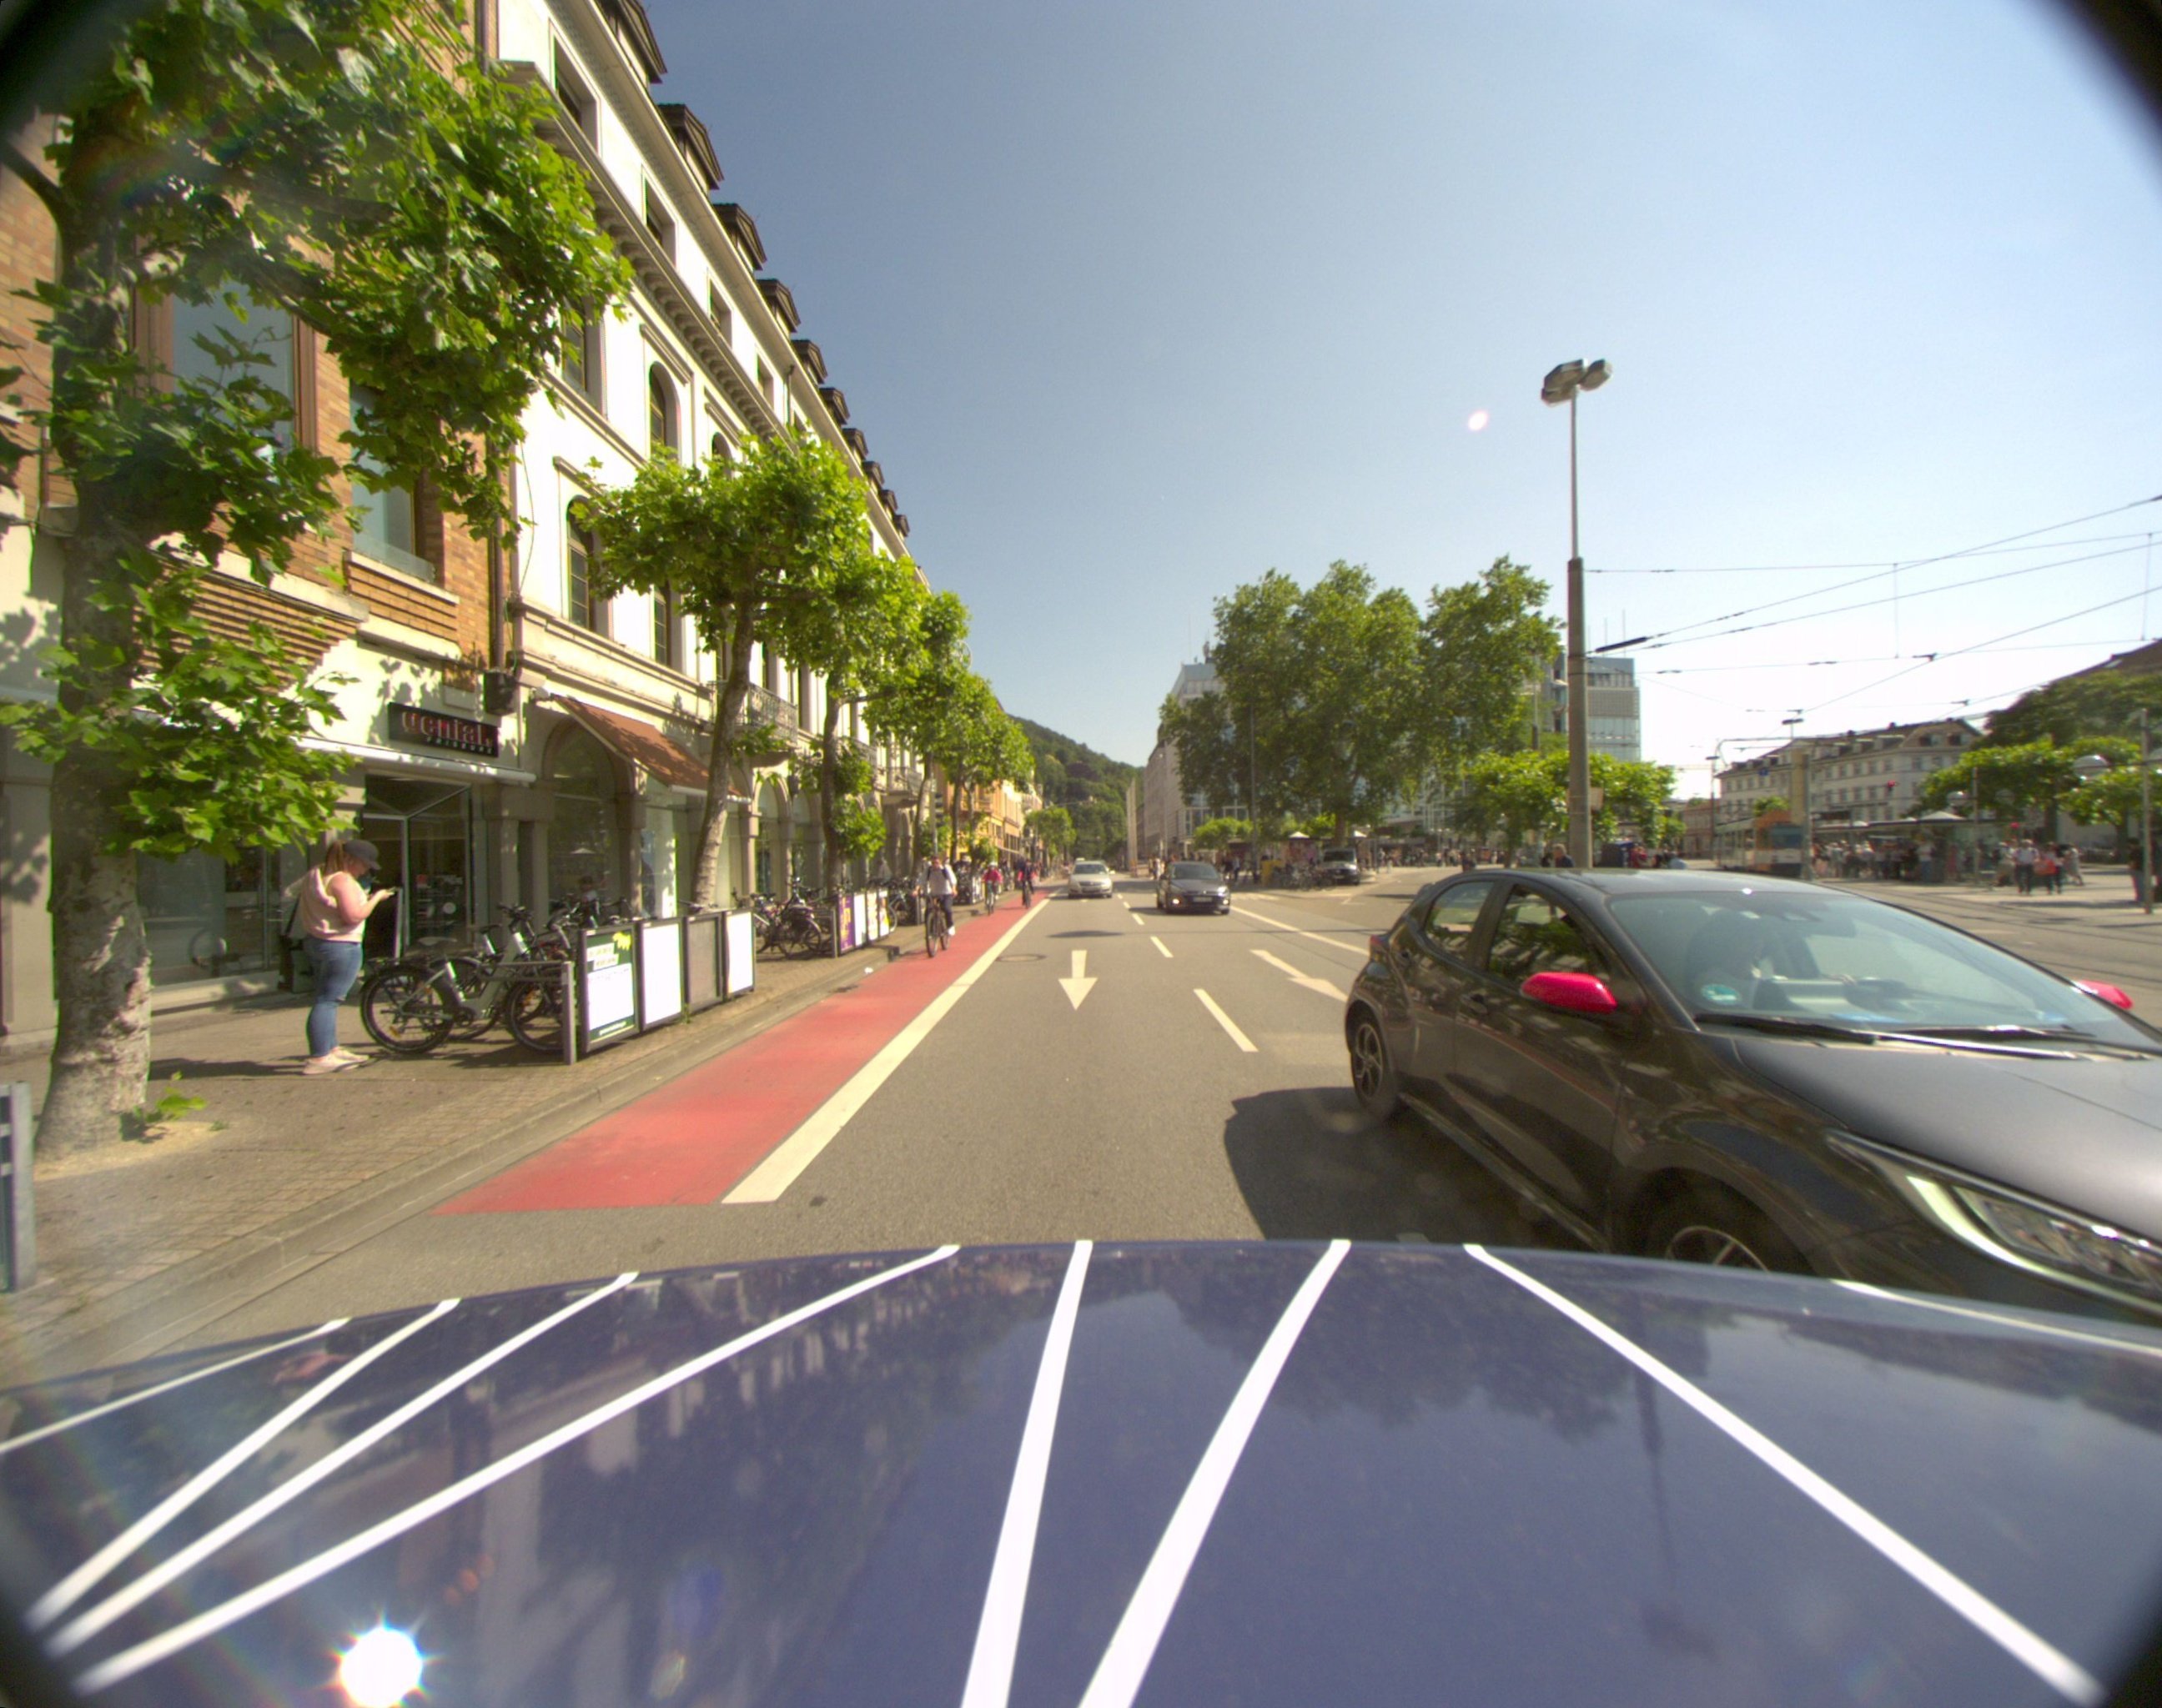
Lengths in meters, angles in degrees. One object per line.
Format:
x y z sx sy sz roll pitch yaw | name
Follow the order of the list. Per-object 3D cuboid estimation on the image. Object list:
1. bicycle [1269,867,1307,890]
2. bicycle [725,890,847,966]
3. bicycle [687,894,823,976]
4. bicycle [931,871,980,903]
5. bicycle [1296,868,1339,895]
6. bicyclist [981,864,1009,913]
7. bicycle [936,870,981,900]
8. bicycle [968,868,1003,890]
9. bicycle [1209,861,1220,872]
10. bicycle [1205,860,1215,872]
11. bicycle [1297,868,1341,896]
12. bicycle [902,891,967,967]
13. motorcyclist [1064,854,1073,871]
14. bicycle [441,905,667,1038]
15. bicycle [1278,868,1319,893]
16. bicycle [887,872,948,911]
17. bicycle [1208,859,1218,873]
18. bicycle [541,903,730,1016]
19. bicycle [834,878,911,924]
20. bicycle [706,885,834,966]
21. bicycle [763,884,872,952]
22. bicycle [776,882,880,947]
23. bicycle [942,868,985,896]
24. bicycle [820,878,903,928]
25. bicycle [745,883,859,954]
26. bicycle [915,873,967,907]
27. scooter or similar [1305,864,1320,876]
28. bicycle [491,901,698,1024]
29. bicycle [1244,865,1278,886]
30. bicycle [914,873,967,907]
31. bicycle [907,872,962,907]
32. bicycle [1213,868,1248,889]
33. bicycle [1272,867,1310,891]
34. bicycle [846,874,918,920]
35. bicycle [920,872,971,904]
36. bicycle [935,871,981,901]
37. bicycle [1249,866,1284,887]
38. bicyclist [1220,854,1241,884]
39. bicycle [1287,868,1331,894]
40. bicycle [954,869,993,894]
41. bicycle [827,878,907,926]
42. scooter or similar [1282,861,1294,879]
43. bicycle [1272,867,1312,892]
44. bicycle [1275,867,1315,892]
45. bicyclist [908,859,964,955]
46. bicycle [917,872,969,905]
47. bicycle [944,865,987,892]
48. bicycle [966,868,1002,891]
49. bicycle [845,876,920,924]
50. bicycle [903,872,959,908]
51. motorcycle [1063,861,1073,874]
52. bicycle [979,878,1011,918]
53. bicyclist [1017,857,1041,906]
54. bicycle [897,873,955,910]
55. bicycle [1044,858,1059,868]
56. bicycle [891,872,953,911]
10.400 1.229 38.181 1.757 1.140 0.483 -1 0 -1 | bicycle
-4.761 1.180 12.312 1.757 1.140 0.483 -1 0 -1 | bicycle
-4.787 1.178 11.220 1.757 1.117 0.483 -1 0 -1 | bicycle
-4.821 1.261 29.197 1.757 1.140 0.592 -1 0 -1 | bicycle
10.459 1.215 33.618 1.757 1.140 0.483 -1 0 -1 | bicycle
-2.564 1.023 22.664 0.690 1.388 0.778 -3 0 -1 | bicyclist
-5.050 1.277 31.453 1.757 1.140 0.592 -1 0 -1 | bicycle
-4.977 1.302 39.780 1.757 1.140 0.592 -1 0 -1 | bicycle
13.930 1.283 79.486 0.592 1.140 1.757 -1 0 -7 | bicycle
13.476 1.256 79.353 0.592 1.140 1.757 -1 0 -7 | bicycle
10.344 1.219 33.086 1.757 1.140 0.483 -1 0 -1 | bicycle
-2.489 1.246 13.115 0.736 1.086 1.897 -3 0 -1 | bicycle
-1.130 0.784 67.302 0.736 1.445 0.707 -3 0 1 | motorcyclist
-4.963 1.094 7.215 1.757 1.140 0.483 -1 0 -1 | bicycle
10.162 1.228 35.544 1.757 1.140 0.483 -1 0 -1 | bicycle
-5.157 1.180 24.072 1.804 1.187 0.483 -1 0 -1 | bicycle
11.892 1.072 68.504 0.729 1.137 1.914 -3 0 14 | bicycle
-4.897 1.146 8.414 1.757 1.140 0.499 -1 0 -1 | bicycle
-5.126 1.152 18.728 1.757 1.062 0.483 -1 0 -1 | bicycle
-4.786 1.093 11.747 1.757 1.180 0.483 -1 0 -1 | bicycle
-4.749 1.143 13.733 1.757 1.140 0.527 -1 0 -1 | bicycle
-4.741 1.134 14.306 1.757 1.140 0.483 -1 0 -1 | bicycle
-5.073 1.198 32.856 1.757 1.140 0.592 -1 0 -1 | bicycle
-5.103 1.135 17.688 1.757 1.098 0.483 -1 0 -1 | bicycle
-4.802 1.106 13.110 1.757 1.140 0.483 -1 0 -1 | bicycle
-4.983 1.287 27.124 1.757 1.140 0.483 -1 0 -1 | bicycle
13.200 0.918 43.273 0.579 0.643 0.787 -3 0 33 | scooter or similar
-4.928 1.085 7.757 1.757 1.140 0.483 -1 0 -1 | bicycle
10.133 1.197 42.770 1.757 1.140 0.483 -1 0 -1 | bicycle
-4.909 1.255 26.595 1.757 1.140 0.483 -1 0 -1 | bicycle
-4.997 1.216 25.985 1.757 1.140 0.483 -1 0 -1 | bicycle
7.749 1.263 39.488 0.831 1.017 2.624 -3 0 -10 | bicycle
10.349 1.229 37.454 1.757 1.140 0.483 -1 0 -1 | bicycle
-5.285 1.134 20.231 1.757 1.140 0.483 -1 0 -1 | bicycle
-5.050 1.270 28.398 1.757 1.140 0.592 -1 0 -1 | bicycle
-4.948 1.273 30.692 1.757 1.140 0.592 -1 0 -1 | bicycle
10.093 1.220 41.319 1.757 1.140 0.483 -1 0 -1 | bicycle
7.777 0.762 39.557 0.831 1.489 1.161 -3 0 2 | bicyclist
10.333 1.221 34.443 1.865 1.140 0.483 -1 0 -1 | bicycle
-5.138 1.293 36.370 1.757 1.140 0.592 -1 0 -1 | bicycle
-5.112 1.133 18.219 1.757 1.081 0.483 -1 0 -1 | bicycle
13.101 0.988 48.166 0.567 1.113 0.539 -3 0 28 | scooter or similar
10.240 1.233 36.879 1.757 1.140 0.483 -1 0 -1 | bicycle
10.208 1.234 36.306 1.757 1.140 0.483 -1 0 -1 | bicycle
-2.493 0.898 13.174 0.750 1.567 0.778 -3 0 0 | bicyclist
-5.011 1.266 27.704 1.757 1.140 0.592 -1 0 -1 | bicycle
-5.078 1.090 33.488 1.757 1.140 0.592 -1 0 -1 | bicycle
-4.962 1.298 39.075 1.757 1.140 0.592 -1 0 -1 | bicycle
-5.045 1.170 19.364 1.757 1.140 0.483 -1 0 -1 | bicycle
-4.981 1.196 25.337 1.757 1.140 0.483 -1 0 -1 | bicycle
-1.134 1.213 67.213 0.736 1.086 1.898 -3 0 1 | motorcycle
-2.550 1.286 22.640 0.736 1.086 1.819 -2 -1 -1 | bicycle
-1.700 0.891 25.103 0.690 1.567 0.778 -3 0 -3 | bicyclist
-5.043 1.201 24.721 1.757 1.140 0.483 -1 0 -1 | bicycle
-3.485 1.119 91.121 1.757 1.140 0.592 -1 0 -1 | bicycle
-4.915 1.157 23.569 1.778 1.140 0.483 -1 0 -1 | bicycle
